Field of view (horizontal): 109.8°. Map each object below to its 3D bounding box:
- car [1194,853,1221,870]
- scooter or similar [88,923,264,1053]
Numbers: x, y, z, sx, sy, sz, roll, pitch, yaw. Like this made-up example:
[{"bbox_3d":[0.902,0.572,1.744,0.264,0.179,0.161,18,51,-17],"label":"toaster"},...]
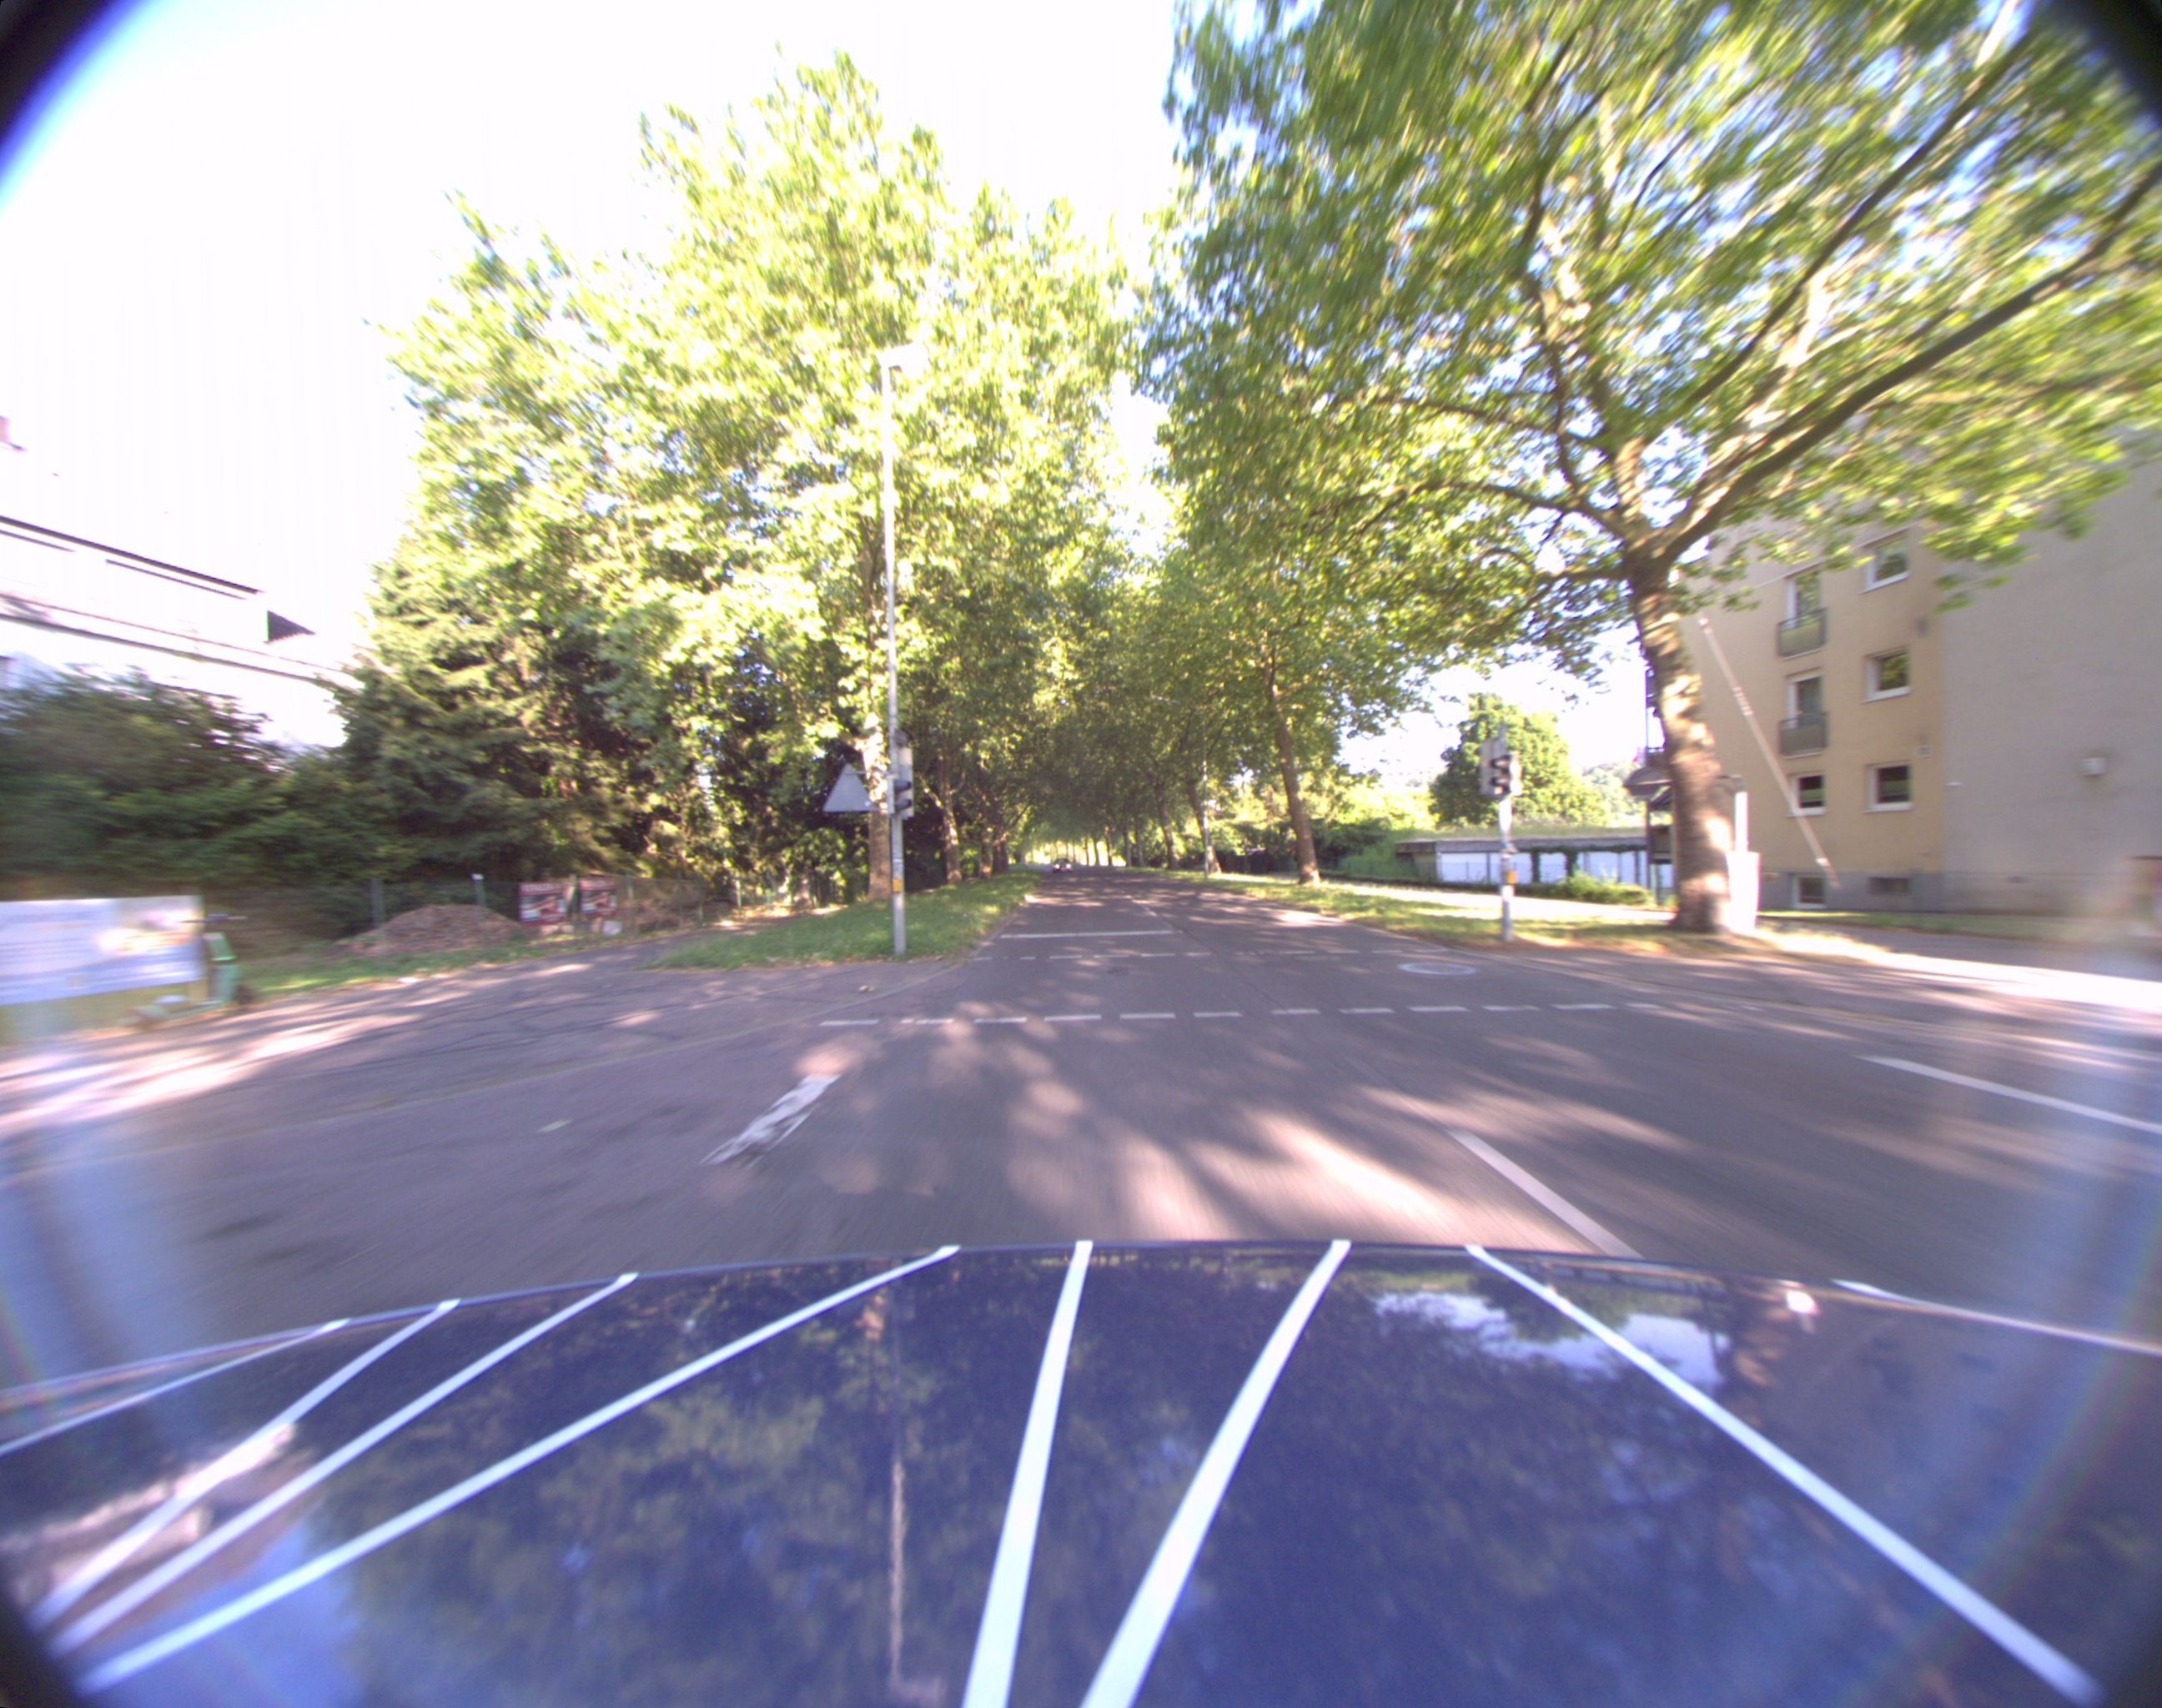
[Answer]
[{"bbox_3d":[11.682,0.689,70.390,1.813,1.521,3.999,-1,0,-1],"label":"car"},{"bbox_3d":[-9.819,1.410,8.305,0.383,1.189,1.255,-3,0,-1],"label":"scooter or similar"}]
